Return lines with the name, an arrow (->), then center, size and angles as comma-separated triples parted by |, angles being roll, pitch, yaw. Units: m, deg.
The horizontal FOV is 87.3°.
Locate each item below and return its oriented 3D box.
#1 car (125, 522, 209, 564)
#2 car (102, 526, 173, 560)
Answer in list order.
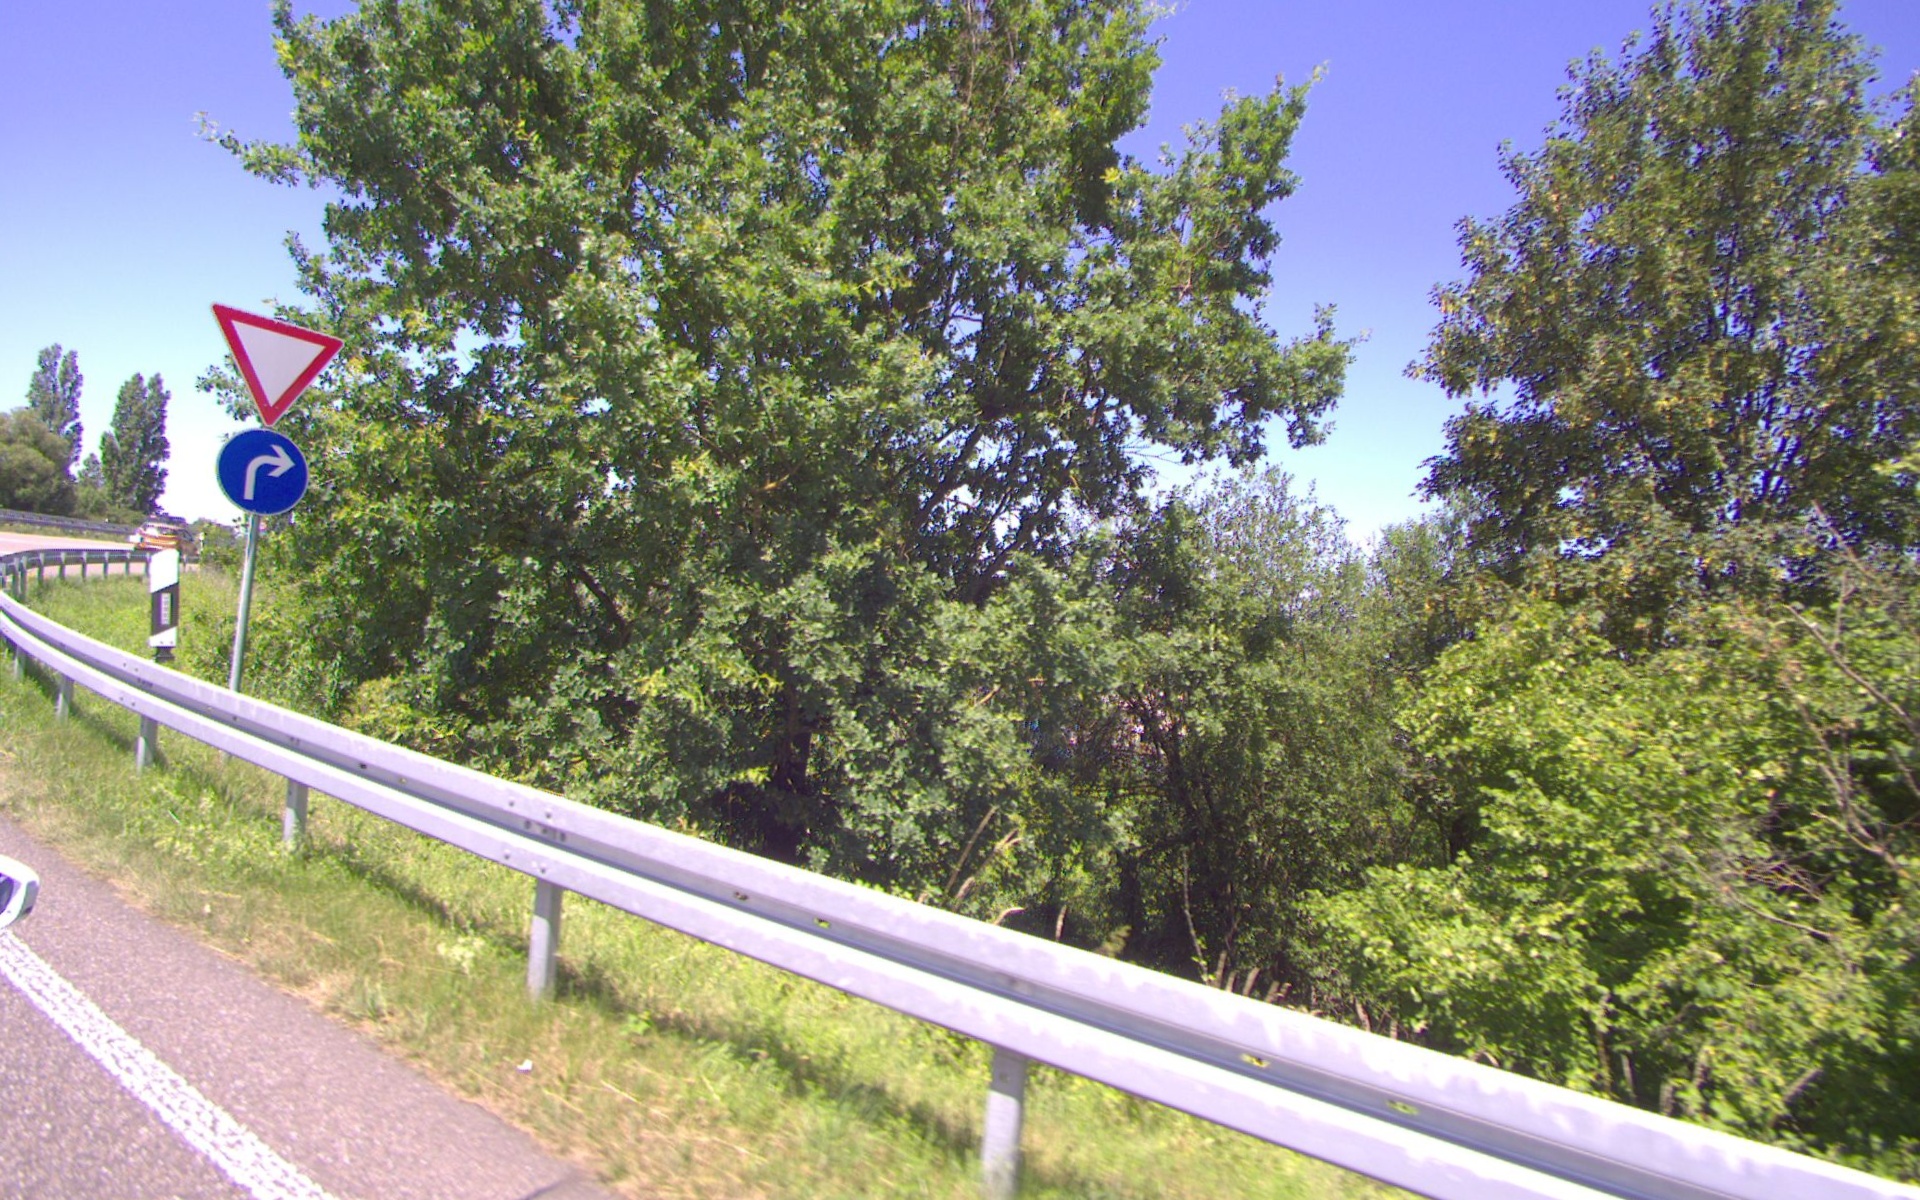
car -> -37.328, -2.656, 47.467 | 1.823, 1.480, 3.983 | 10, -3, -20
car -> -47.316, -3.242, 57.983 | 1.823, 1.467, 3.983 | 10, -3, -21
